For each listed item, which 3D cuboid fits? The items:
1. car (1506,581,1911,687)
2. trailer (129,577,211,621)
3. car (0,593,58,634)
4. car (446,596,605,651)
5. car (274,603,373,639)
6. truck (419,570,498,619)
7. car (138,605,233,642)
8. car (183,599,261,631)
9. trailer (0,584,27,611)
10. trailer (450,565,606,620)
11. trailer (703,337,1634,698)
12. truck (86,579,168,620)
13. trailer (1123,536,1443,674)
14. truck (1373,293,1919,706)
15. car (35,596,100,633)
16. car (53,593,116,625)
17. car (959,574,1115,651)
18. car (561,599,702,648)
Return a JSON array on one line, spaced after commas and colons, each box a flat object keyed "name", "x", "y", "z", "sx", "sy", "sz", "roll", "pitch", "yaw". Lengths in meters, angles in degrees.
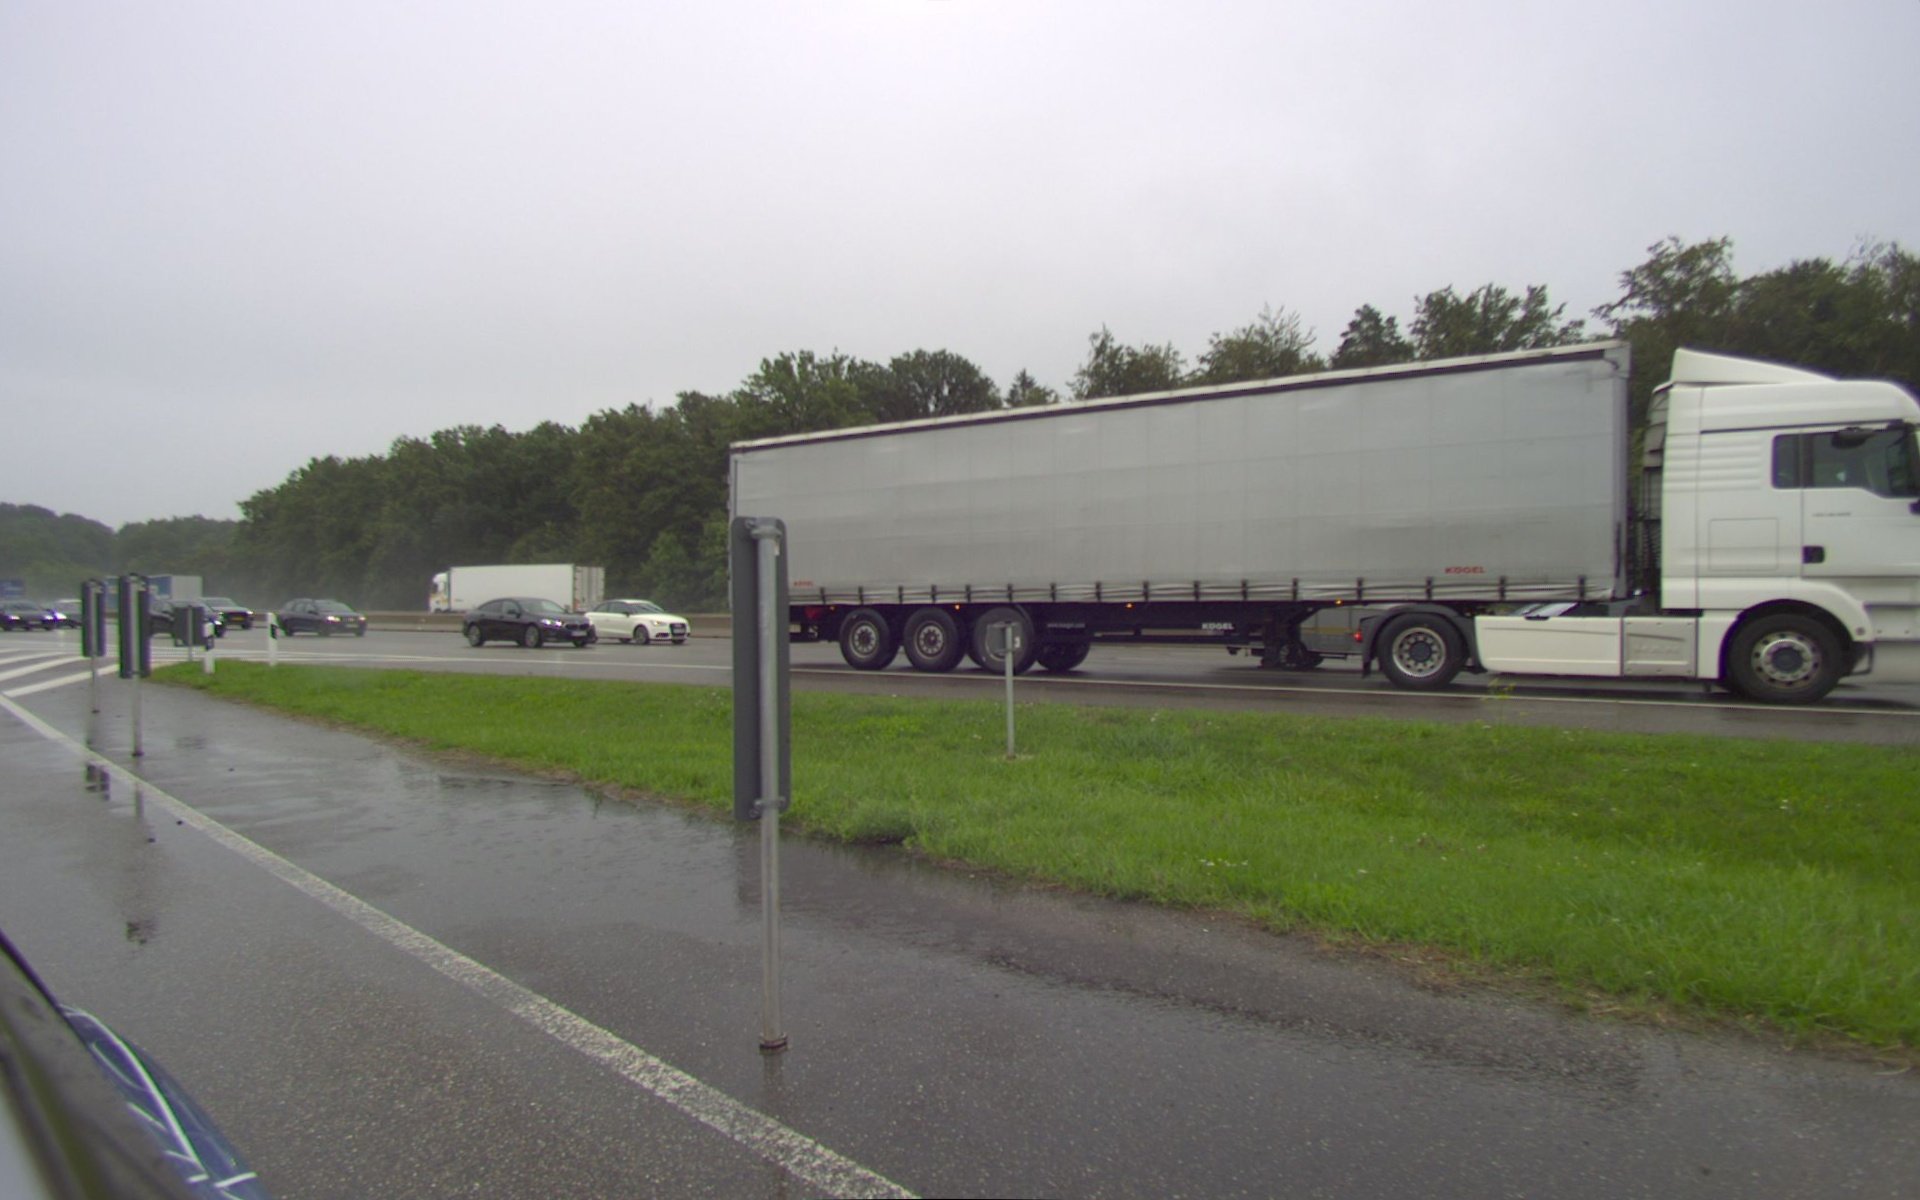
[{"name": "car", "x": 10.693, "y": 0.486, "z": 14.975, "sx": 4.564, "sy": 1.358, "sz": 1.833, "roll": -1, "pitch": -2, "yaw": 30}, {"name": "trailer", "x": -79.372, "y": -0.119, "z": 101.643, "sx": 9.130, "sy": 4.076, "sz": 3.070, "roll": 0, "pitch": 4, "yaw": 30}, {"name": "car", "x": -46.698, "y": 0.675, "z": 50.409, "sx": 3.990, "sy": 1.918, "sz": 1.746, "roll": -1, "pitch": 0, "yaw": 35}, {"name": "car", "x": -12.578, "y": 0.664, "z": 29.278, "sx": 4.481, "sy": 1.492, "sz": 1.868, "roll": 0, "pitch": -1, "yaw": 28}, {"name": "car", "x": -26.325, "y": 0.881, "z": 41.820, "sx": 4.108, "sy": 1.425, "sz": 1.805, "roll": -1, "pitch": -1, "yaw": 31}, {"name": "truck", "x": -36.596, "y": -0.358, "z": 73.820, "sx": 5.582, "sy": 3.478, "sz": 2.627, "roll": -1, "pitch": 0, "yaw": 32}, {"name": "car", "x": -30.470, "y": 0.922, "z": 39.777, "sx": 3.990, "sy": 1.383, "sz": 1.803, "roll": -1, "pitch": -1, "yaw": 34}, {"name": "car", "x": -40.088, "y": 0.820, "z": 54.958, "sx": 4.388, "sy": 1.681, "sz": 1.805, "roll": 0, "pitch": -2, "yaw": 31}, {"name": "trailer", "x": -125.598, "y": -0.274, "z": 132.561, "sx": 11.375, "sy": 3.443, "sz": 2.708, "roll": 0, "pitch": 0, "yaw": 36}, {"name": "trailer", "x": -29.973, "y": -0.413, "z": 69.743, "sx": 13.439, "sy": 3.524, "sz": 2.629, "roll": -1, "pitch": 0, "yaw": 32}, {"name": "trailer", "x": 2.106, "y": -0.830, "z": 16.050, "sx": 14.064, "sy": 4.013, "sz": 2.874, "roll": -1, "pitch": -2, "yaw": 31}, {"name": "truck", "x": -87.835, "y": -0.118, "z": 106.640, "sx": 10.518, "sy": 4.008, "sz": 3.040, "roll": 0, "pitch": 4, "yaw": 31}, {"name": "trailer", "x": 5.723, "y": 0.134, "z": 18.135, "sx": 5.159, "sy": 2.172, "sz": 2.114, "roll": -1, "pitch": -2, "yaw": 30}, {"name": "truck", "x": 8.391, "y": -0.951, "z": 12.300, "sx": 5.911, "sy": 4.083, "sz": 2.852, "roll": -1, "pitch": -2, "yaw": 31}, {"name": "car", "x": -50.172, "y": 0.812, "z": 56.881, "sx": 3.990, "sy": 2.029, "sz": 1.841, "roll": 0, "pitch": -1, "yaw": 35}, {"name": "car", "x": -57.059, "y": 0.583, "z": 65.923, "sx": 3.985, "sy": 2.029, "sz": 1.979, "roll": -1, "pitch": -1, "yaw": 31}, {"name": "car", "x": 2.200, "y": 0.344, "z": 28.941, "sx": 3.984, "sy": 2.028, "sz": 1.923, "roll": -1, "pitch": 2, "yaw": 30}, {"name": "car", "x": -10.581, "y": 0.732, "z": 32.503, "sx": 4.486, "sy": 1.492, "sz": 1.866, "roll": 0, "pitch": -1, "yaw": 31}]
